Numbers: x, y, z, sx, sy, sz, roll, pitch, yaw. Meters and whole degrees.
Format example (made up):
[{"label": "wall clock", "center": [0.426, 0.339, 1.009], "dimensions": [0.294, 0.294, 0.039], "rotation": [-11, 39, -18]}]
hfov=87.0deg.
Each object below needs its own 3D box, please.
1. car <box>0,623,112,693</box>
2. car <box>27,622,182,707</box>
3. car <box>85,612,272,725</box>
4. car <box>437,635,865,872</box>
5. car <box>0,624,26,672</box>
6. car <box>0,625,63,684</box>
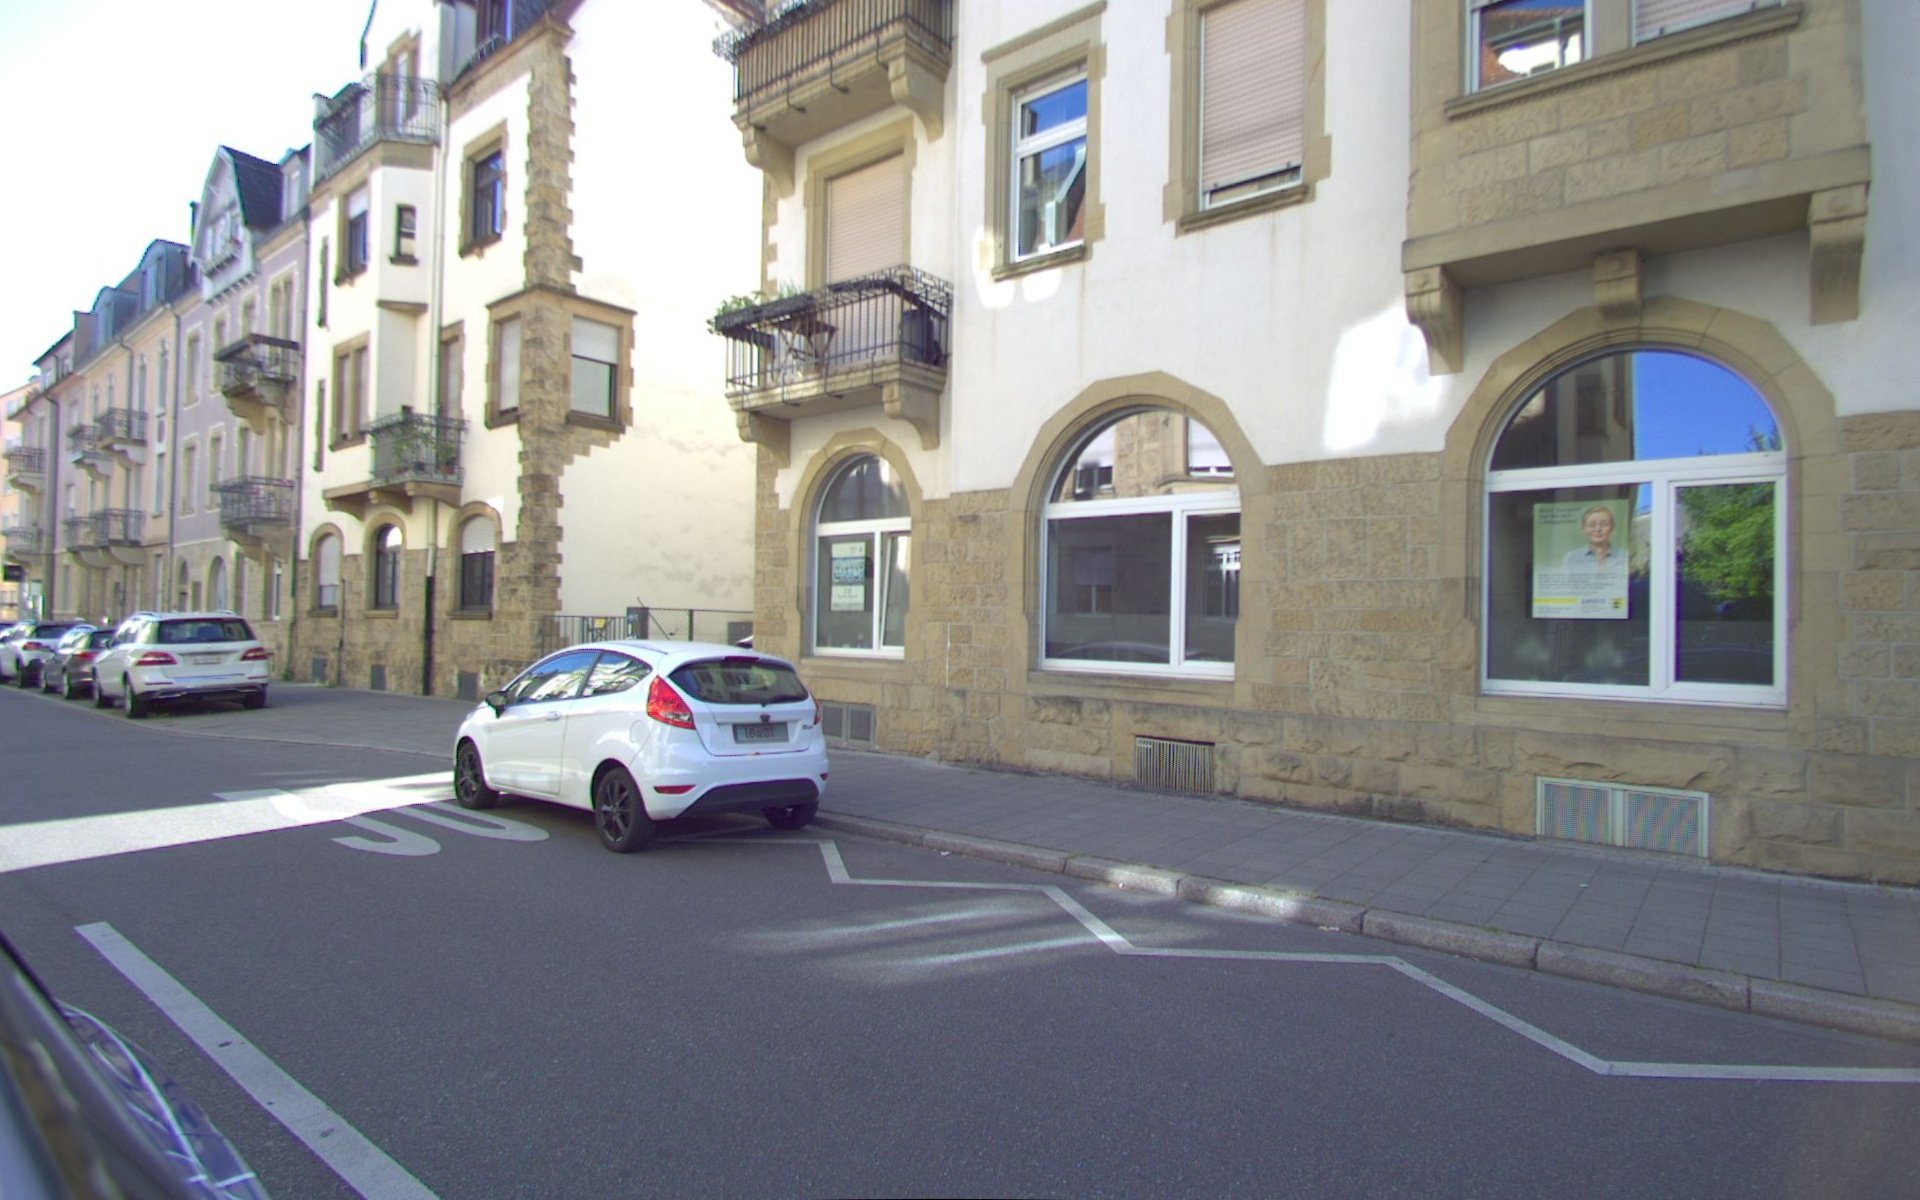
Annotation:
[{"label": "car", "center": [-22.941, 1.383, 25.423], "dimensions": [4.319, 1.520, 1.866], "rotation": [-1, 0, 41]}, {"label": "car", "center": [-18.437, 1.290, 21.742], "dimensions": [4.319, 1.519, 1.866], "rotation": [-1, 2, 41]}, {"label": "car", "center": [-13.964, 1.099, 18.004], "dimensions": [4.209, 1.740, 1.866], "rotation": [-1, 0, 41]}, {"label": "car", "center": [-2.608, 1.045, 8.149], "dimensions": [3.642, 1.469, 1.634], "rotation": [-2, -5, 42]}, {"label": "car", "center": [-33.133, 1.607, 34.211], "dimensions": [4.319, 1.520, 1.866], "rotation": [-1, 0, 41]}, {"label": "car", "center": [-27.149, 1.517, 28.863], "dimensions": [4.317, 1.511, 1.833], "rotation": [-1, 0, 41]}]
